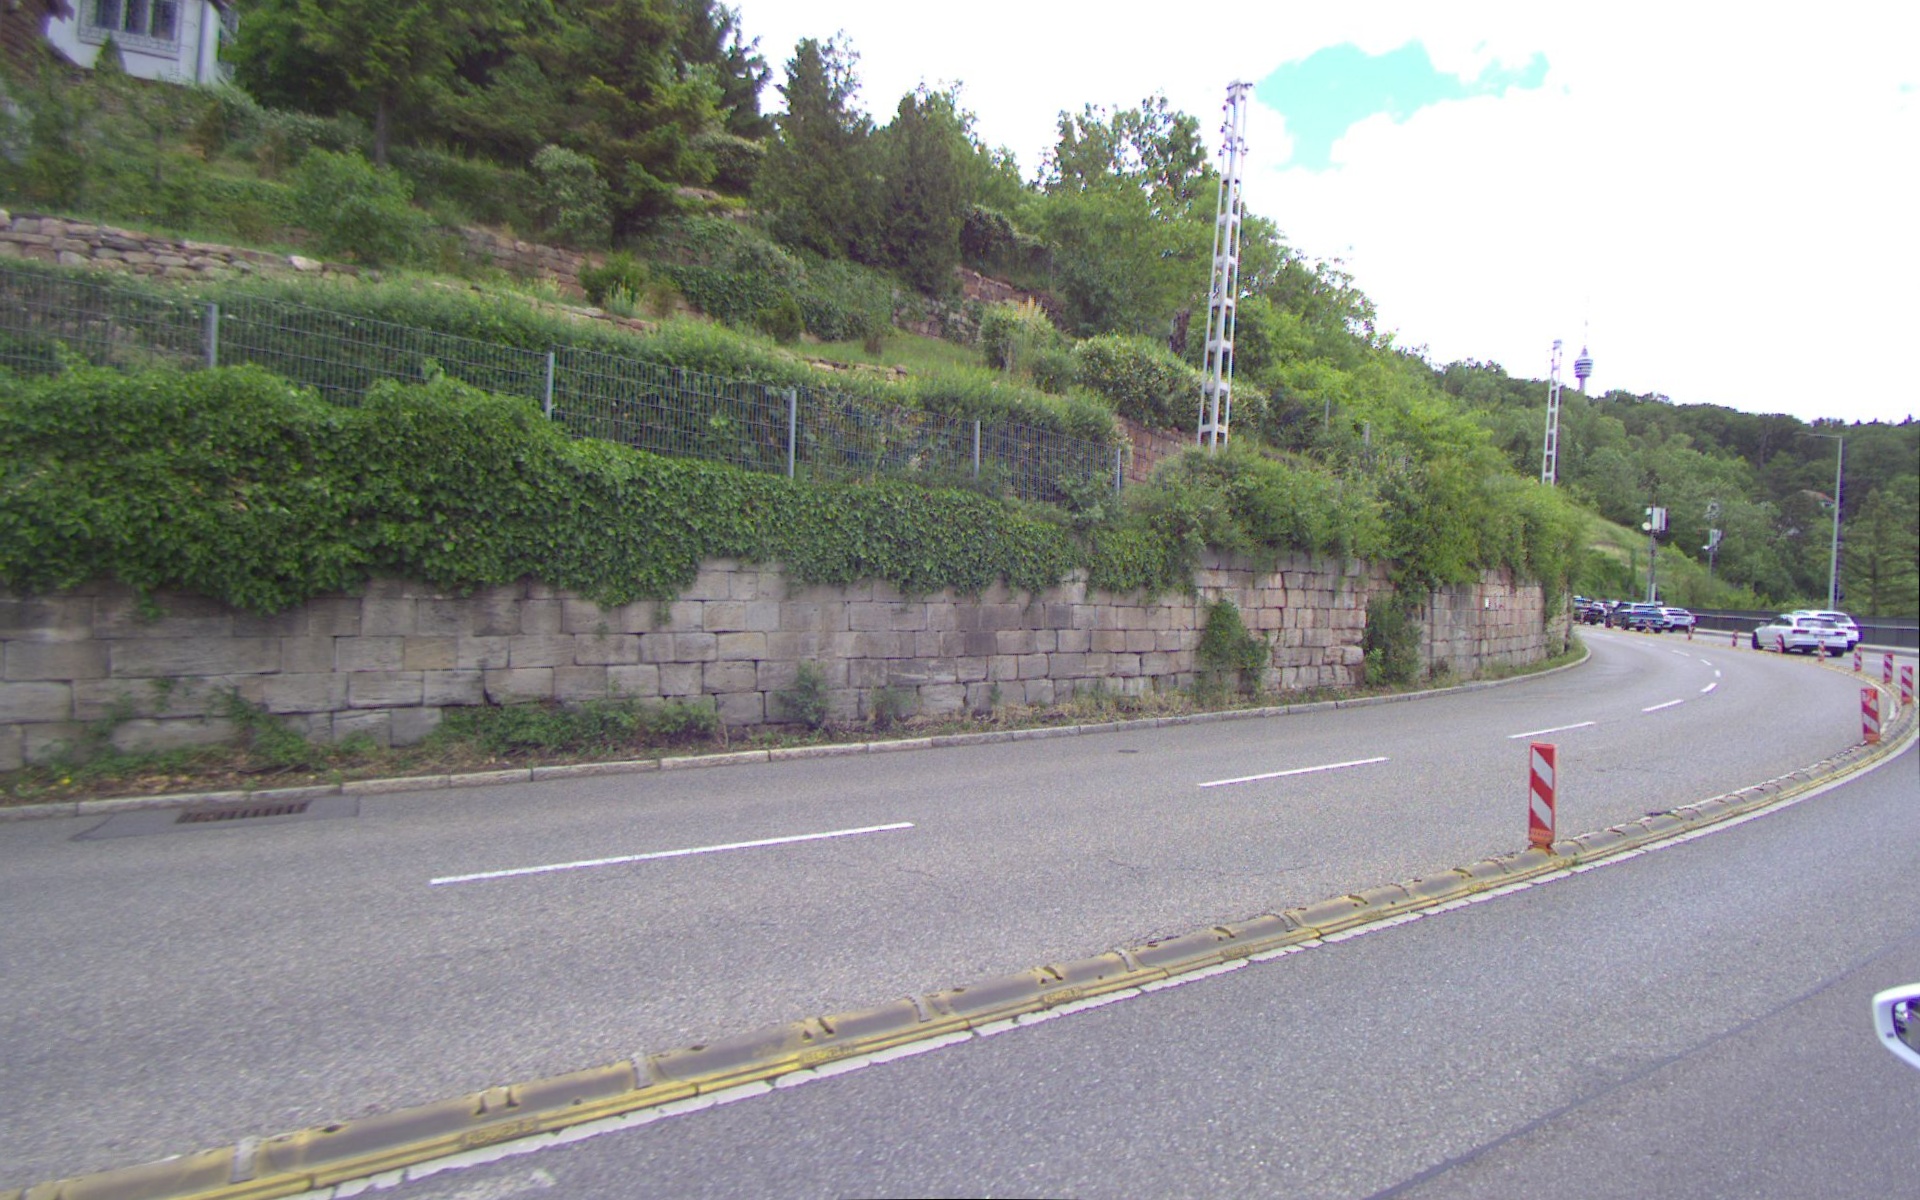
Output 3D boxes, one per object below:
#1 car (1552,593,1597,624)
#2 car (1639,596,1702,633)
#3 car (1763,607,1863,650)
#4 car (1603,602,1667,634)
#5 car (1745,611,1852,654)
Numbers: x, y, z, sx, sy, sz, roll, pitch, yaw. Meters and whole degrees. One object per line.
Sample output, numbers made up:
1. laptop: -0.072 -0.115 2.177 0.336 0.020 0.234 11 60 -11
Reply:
1. car: 40.817 0.603 66.768 1.839 1.784 4.000 3 -2 22
2. car: 41.356 0.856 58.533 1.961 2.040 4.000 1 -1 20
3. car: 36.617 1.257 43.269 1.961 1.740 4.114 0 -2 21
4. car: 37.200 1.018 55.460 1.960 1.670 4.001 0 -2 19
5. car: 31.943 1.258 38.420 1.962 1.523 4.664 0 -2 25
